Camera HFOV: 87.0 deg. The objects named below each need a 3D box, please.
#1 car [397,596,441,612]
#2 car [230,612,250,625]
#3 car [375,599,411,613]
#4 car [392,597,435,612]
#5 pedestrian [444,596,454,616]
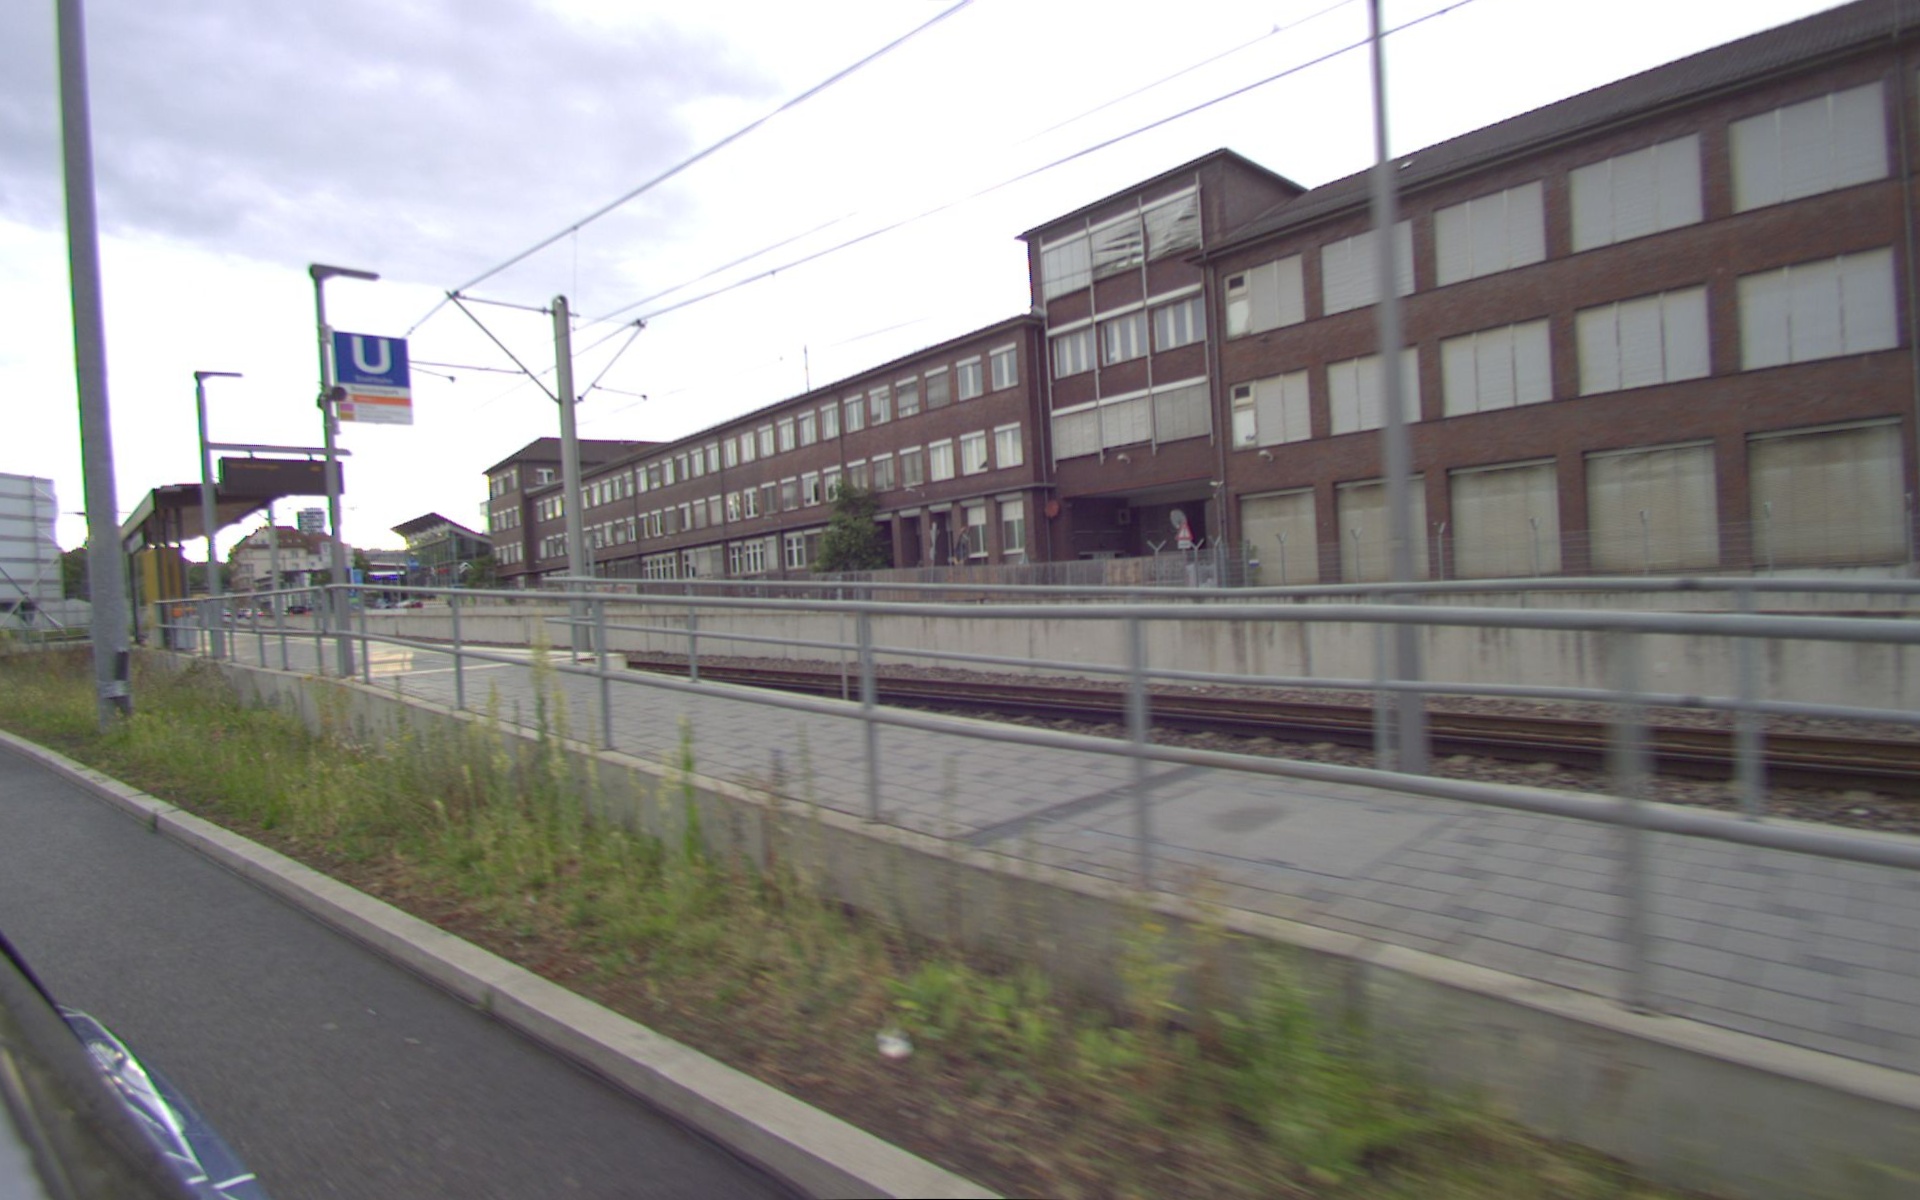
[{"bbox_3d":[-68.785,0.508,128.757,4.509,1.773,2.003,-4,1,-40],"label":"car"},{"bbox_3d":[-115.217,2.920,161.916,1.970,2.029,4.004,-2,0,-43],"label":"car"},{"bbox_3d":[-77.765,0.802,138.822,3.937,1.785,2.003,-3,1,-40],"label":"car"},{"bbox_3d":[-70.910,0.560,131.337,4.509,1.773,2.003,-4,1,-40],"label":"car"},{"bbox_3d":[-52.092,0.628,103.151,0.722,2.029,0.578,-1,0,13],"label":"pedestrian"}]
